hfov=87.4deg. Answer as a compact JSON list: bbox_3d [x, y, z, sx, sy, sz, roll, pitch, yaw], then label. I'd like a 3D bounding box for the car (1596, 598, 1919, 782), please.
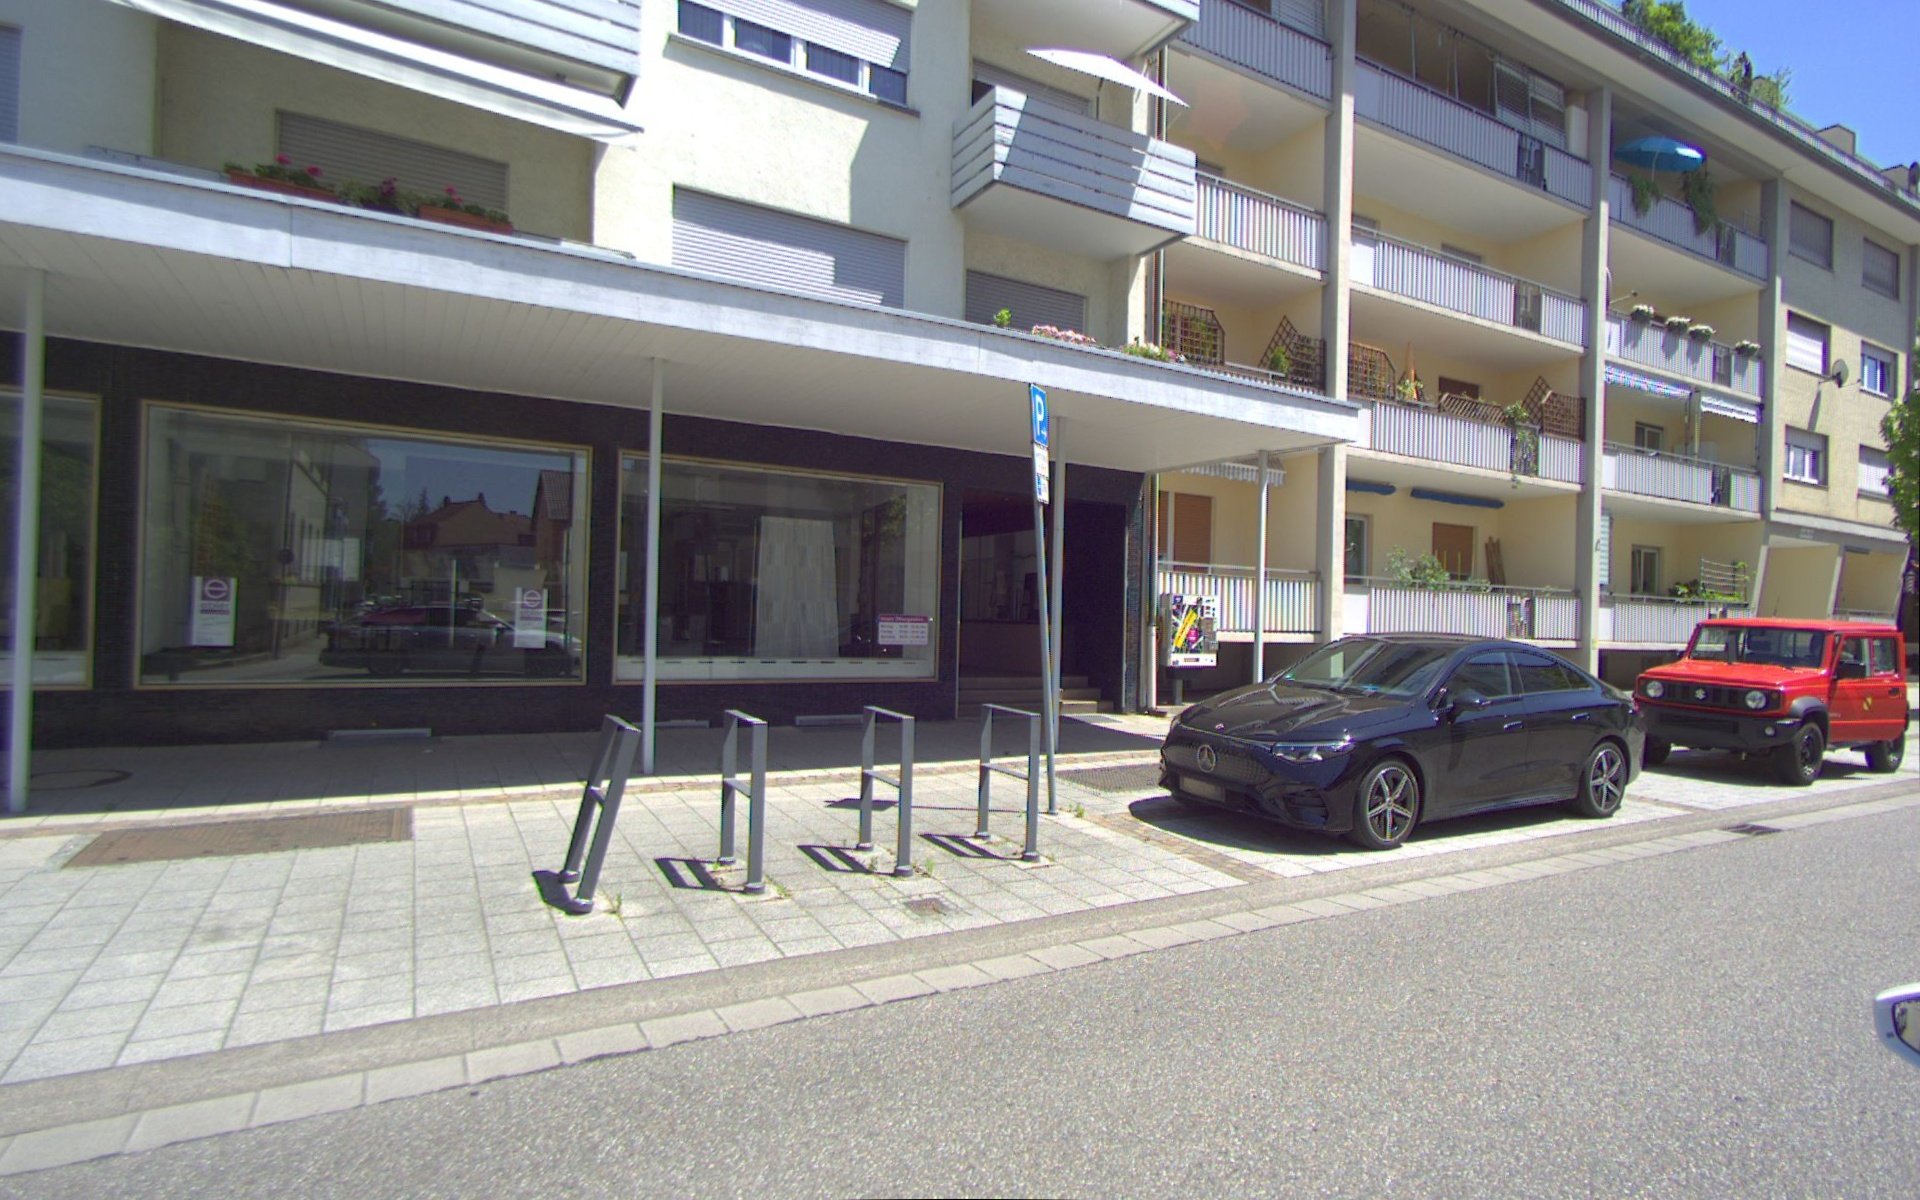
[{"bbox_3d":[9.352,0.922,11.539,4.053,1.725,1.744,1,1,-30],"label":"car"}]

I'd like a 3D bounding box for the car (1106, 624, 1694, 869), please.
[{"bbox_3d":[3.793,0.995,8.369,4.988,1.436,1.887,2,1,-30],"label":"car"}]

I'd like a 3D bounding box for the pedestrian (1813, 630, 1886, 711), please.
[{"bbox_3d":[17.509,1.366,19.770,1.084,1.513,0.694,1,2,-30],"label":"pedestrian"}]
